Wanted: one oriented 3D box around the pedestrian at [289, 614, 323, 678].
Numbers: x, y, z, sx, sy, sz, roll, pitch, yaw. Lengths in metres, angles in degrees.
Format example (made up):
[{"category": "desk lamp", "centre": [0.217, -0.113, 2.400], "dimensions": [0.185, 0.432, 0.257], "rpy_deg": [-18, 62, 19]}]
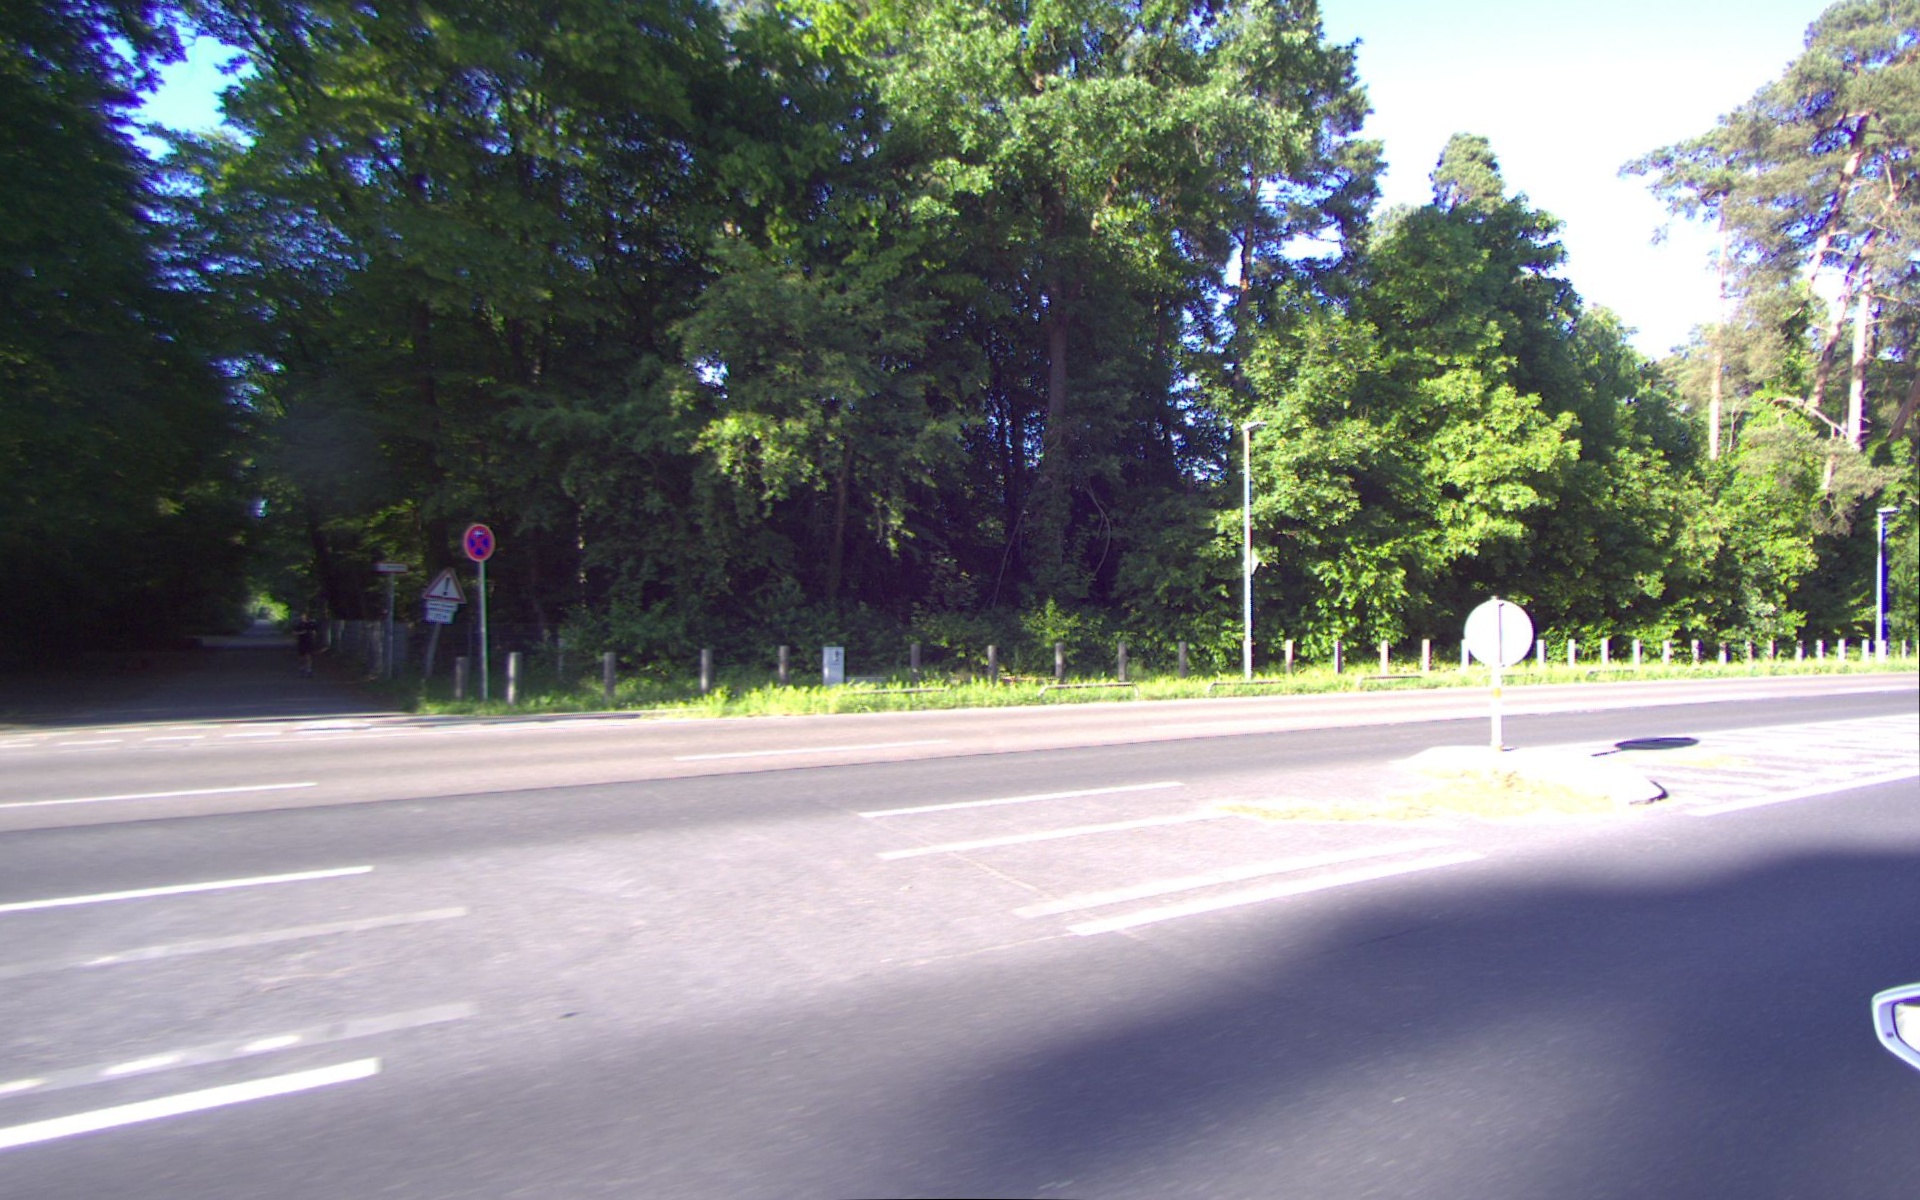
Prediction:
[{"category": "pedestrian", "centre": [-18.305, 1.274, 28.120], "dimensions": [0.695, 1.770, 0.649], "rpy_deg": [1, -1, -28]}]
